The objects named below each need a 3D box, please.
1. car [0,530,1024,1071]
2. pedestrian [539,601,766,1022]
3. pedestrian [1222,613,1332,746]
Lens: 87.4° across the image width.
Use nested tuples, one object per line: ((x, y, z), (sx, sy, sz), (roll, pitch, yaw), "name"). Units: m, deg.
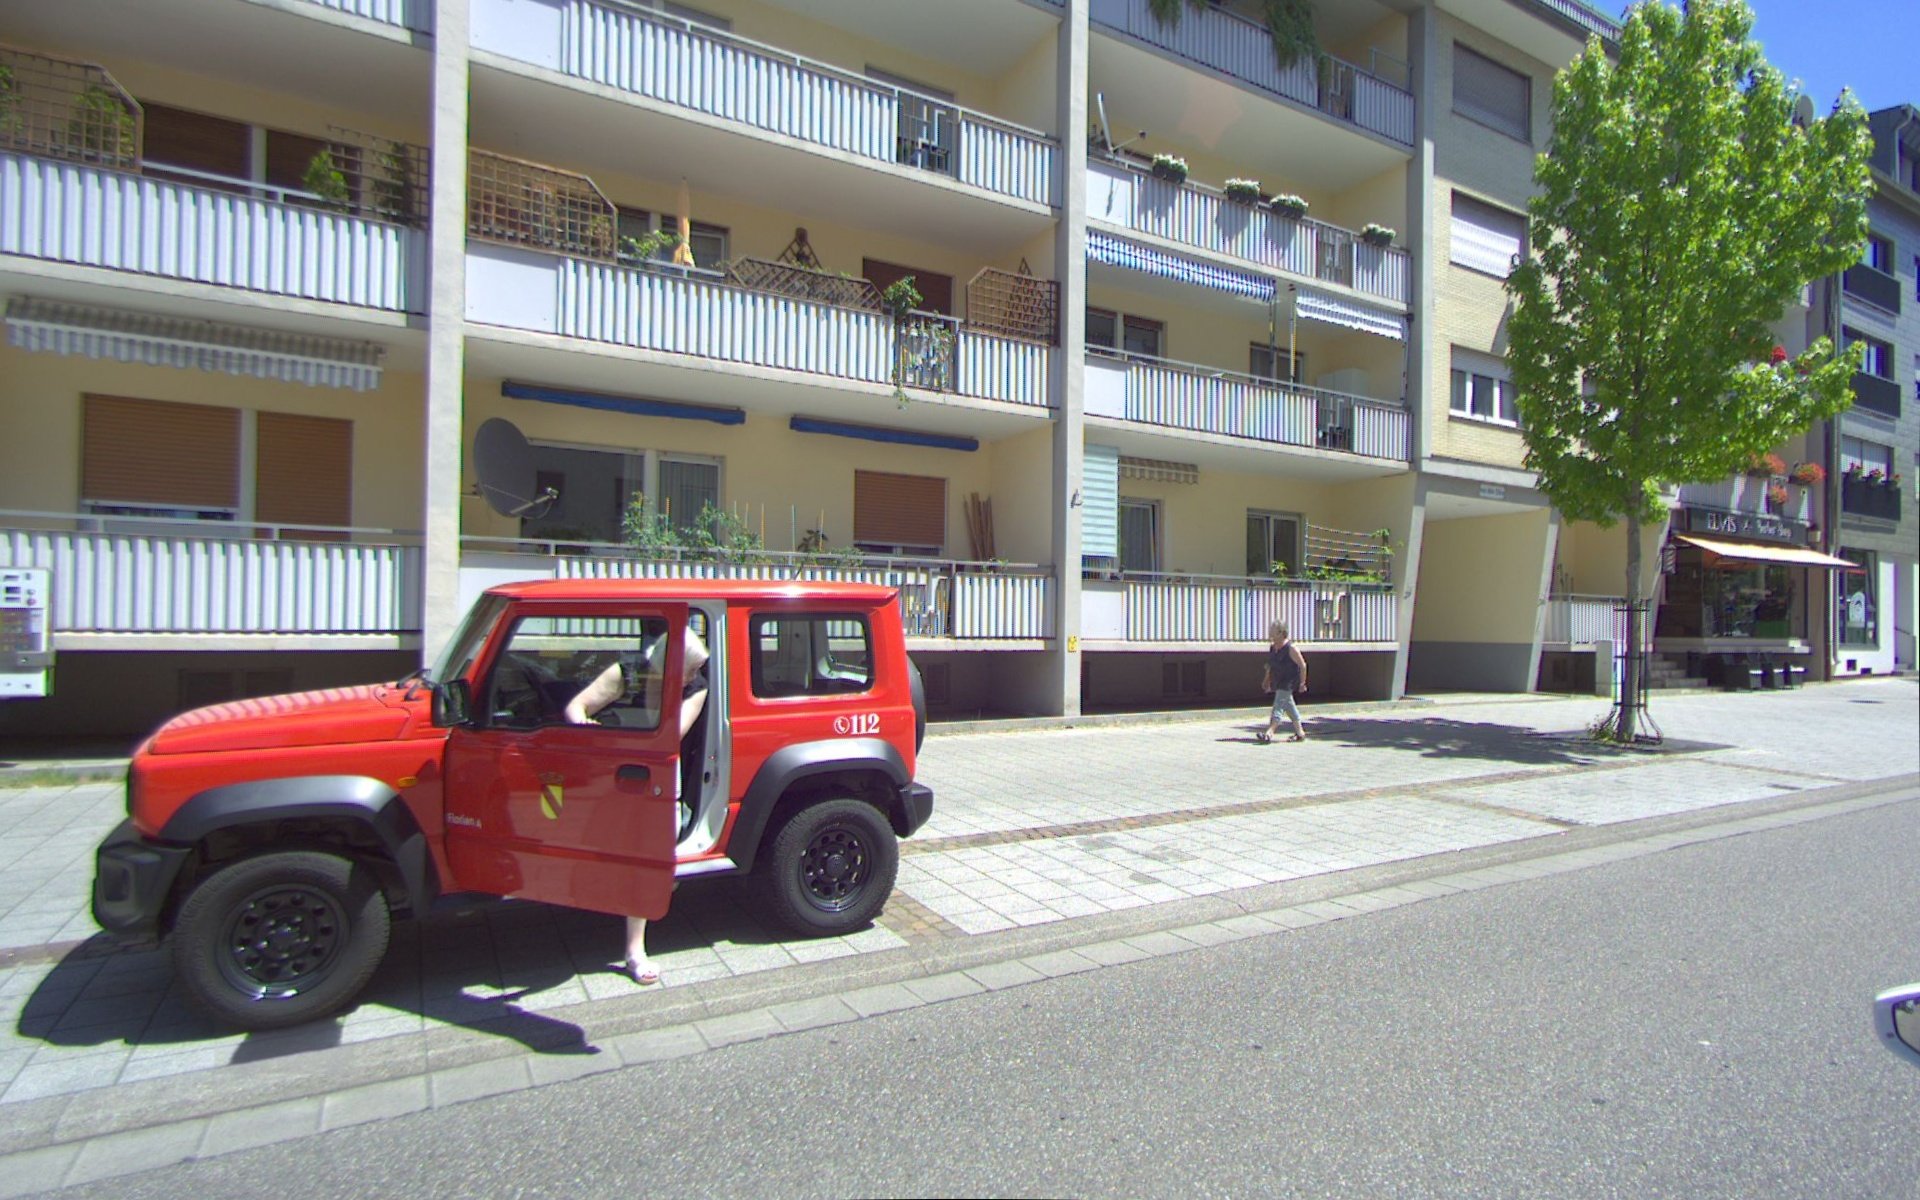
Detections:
((-1.860, 0.657, 4.908), (4.053, 1.725, 1.744), (1, 1, -31), "car")
((-1.304, 0.795, 4.236), (0.722, 1.554, 0.720), (1, -1, -36), "pedestrian")
((3.853, 0.933, 12.226), (1.084, 1.513, 0.694), (1, 2, -30), "pedestrian")
